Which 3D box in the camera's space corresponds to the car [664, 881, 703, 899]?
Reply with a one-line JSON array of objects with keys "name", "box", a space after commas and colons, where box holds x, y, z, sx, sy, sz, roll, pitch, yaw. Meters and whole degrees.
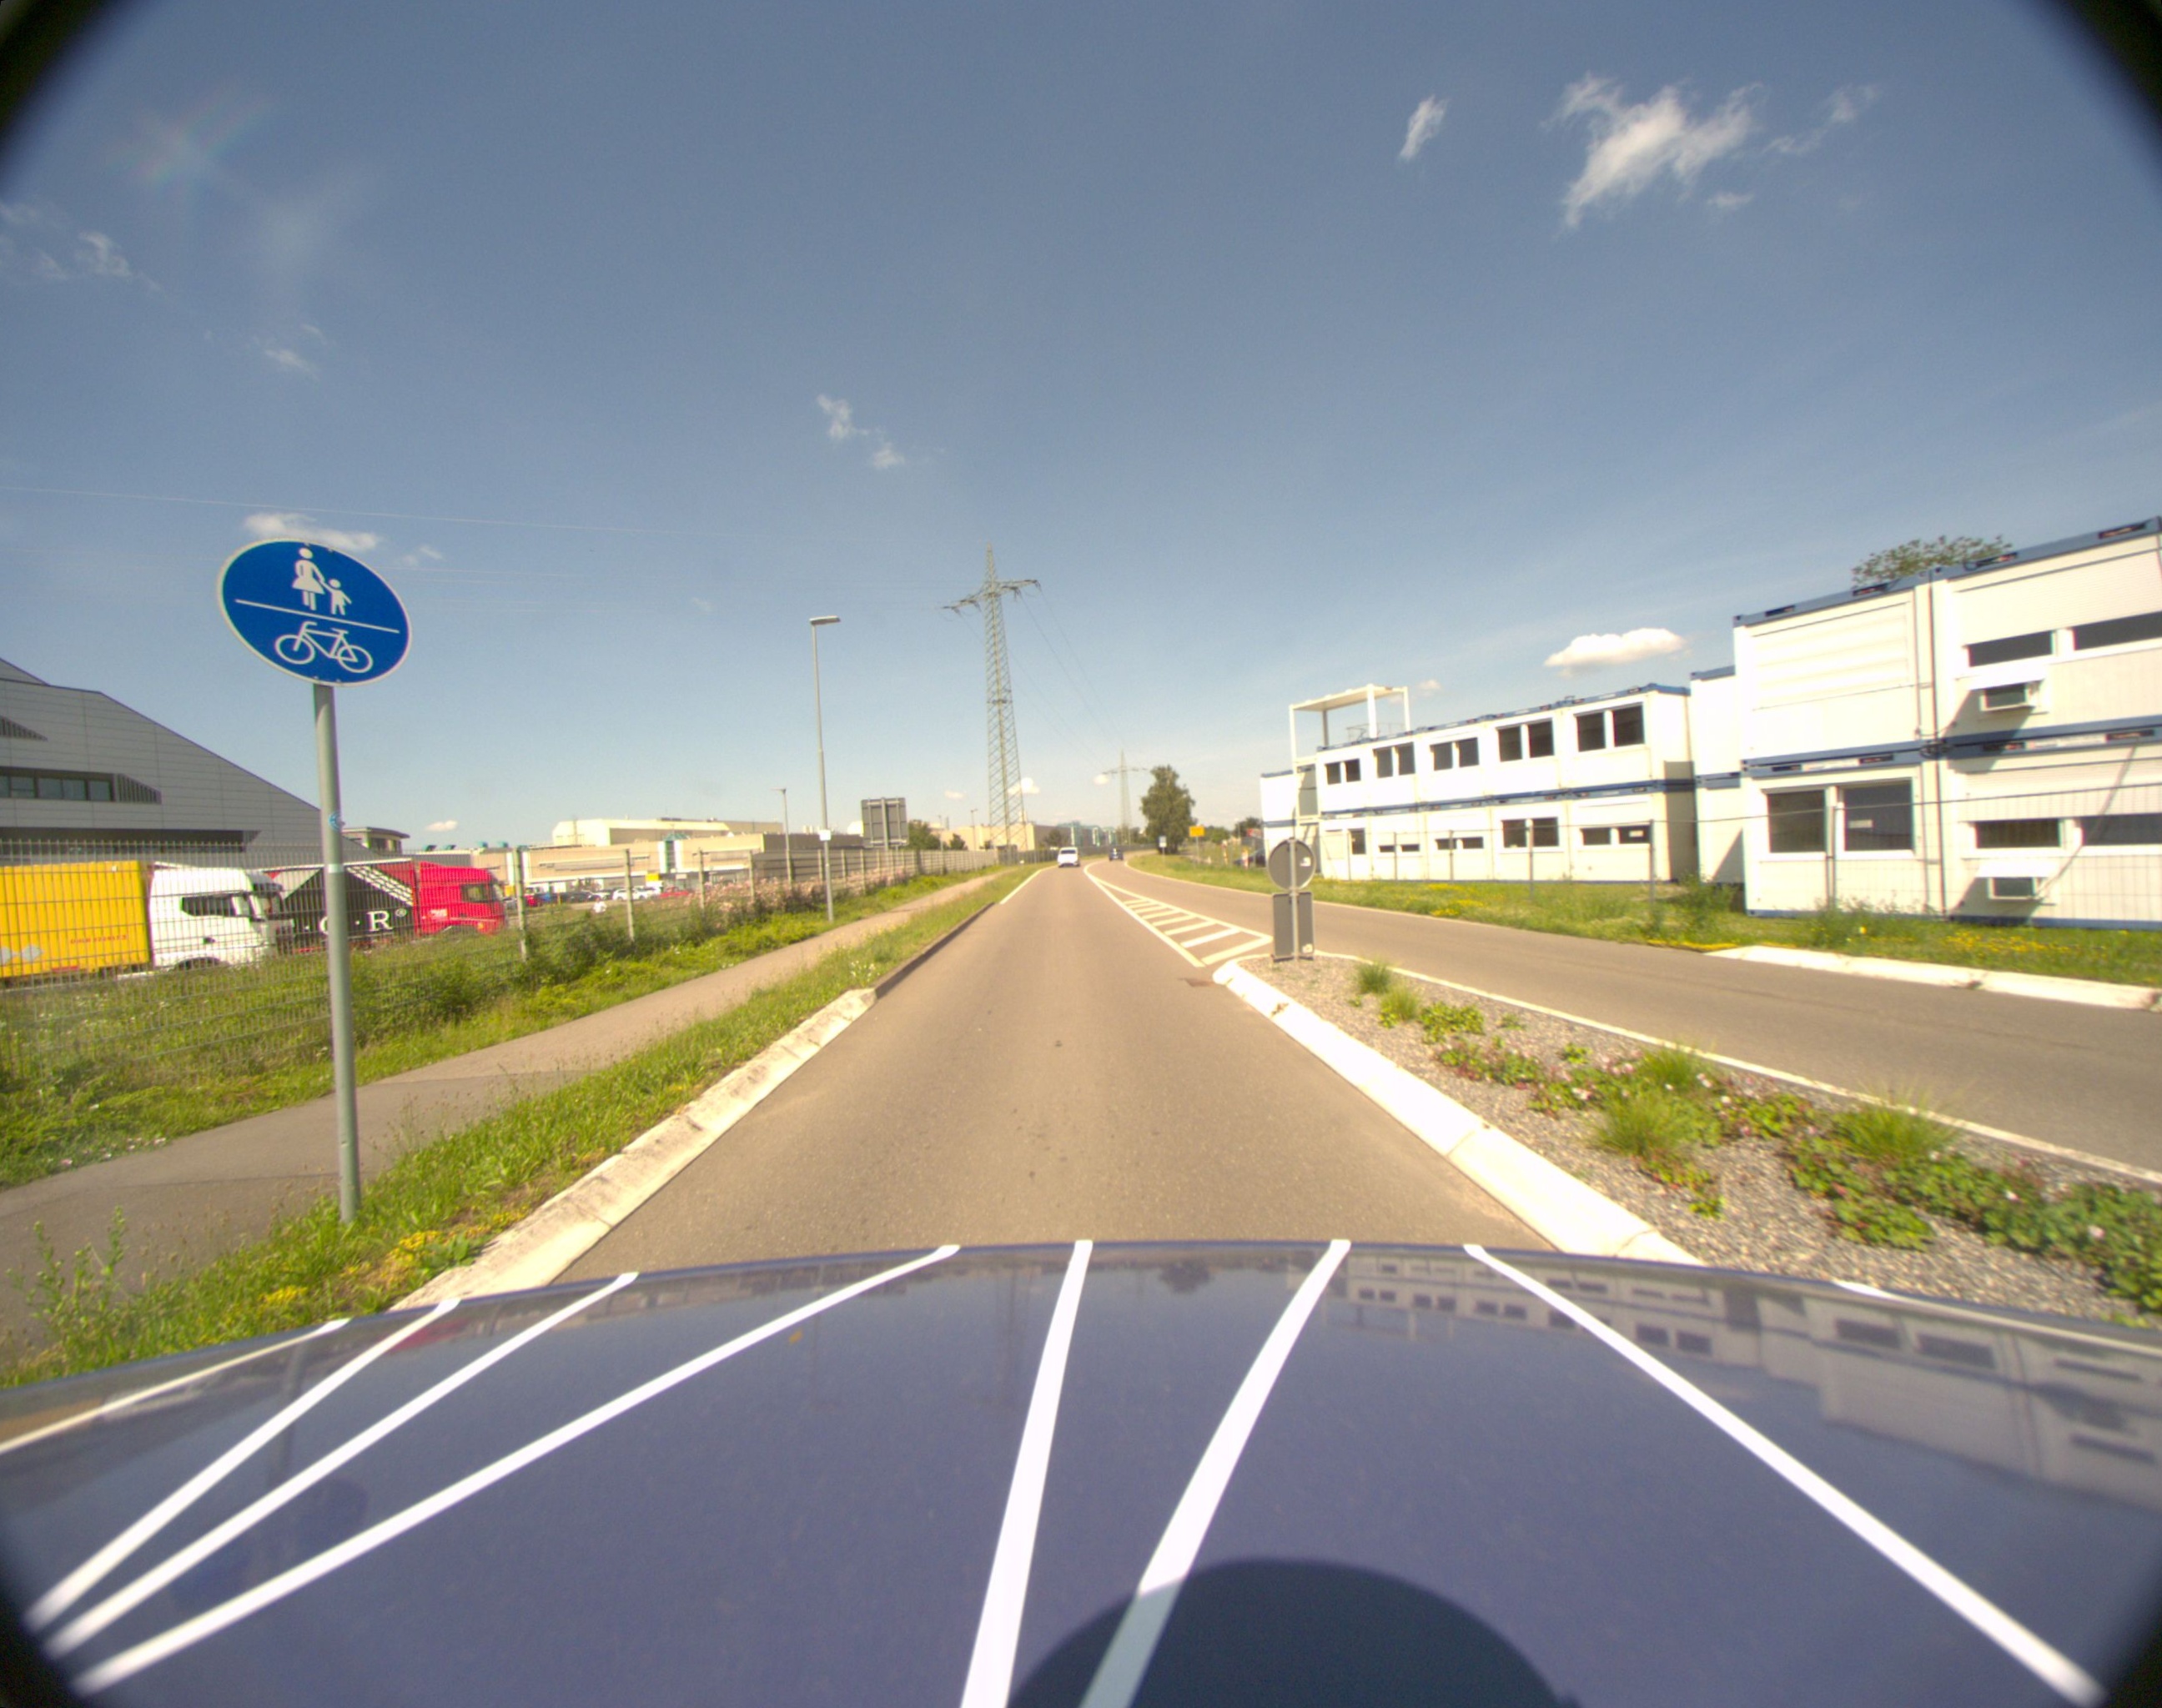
[{"name": "car", "box": [-41.380, 3.754, 79.137, 3.149, 1.525, 1.455, -4, 1, 4]}]

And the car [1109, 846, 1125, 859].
[{"name": "car", "box": [4.607, -0.157, 96.890, 1.706, 1.473, 4.001, -2, 1, 7]}]

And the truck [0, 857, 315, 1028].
[{"name": "truck", "box": [-28.935, 2.429, 20.552, 10.990, 4.149, 2.815, -3, 2, -33]}]

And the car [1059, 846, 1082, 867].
[{"name": "car", "box": [-0.933, 0.164, 70.796, 1.836, 1.796, 4.830, -2, 1, 3]}]

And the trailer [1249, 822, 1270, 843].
[{"name": "trailer", "box": [34.378, -4.131, 146.841, 3.296, 3.624, 14.933, -2, 1, 11]}]

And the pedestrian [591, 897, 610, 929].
[{"name": "pedestrian", "box": [-25.814, 3.184, 40.810, 0.484, 1.643, 0.574, -4, 1, 3]}]

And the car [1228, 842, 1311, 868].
[{"name": "car", "box": [12.604, 0.035, 50.998, 4.985, 1.409, 1.998, -4, 0, -10]}]

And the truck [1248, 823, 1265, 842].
[{"name": "truck", "box": [36.765, -4.519, 159.361, 3.106, 3.624, 10.600, -2, 1, 11]}]

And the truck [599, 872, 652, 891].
[{"name": "truck", "box": [-93.775, 5.575, 156.809, 1.997, 3.119, 11.858, -5, 1, 10]}]

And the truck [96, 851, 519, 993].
[{"name": "truck", "box": [-29.013, 2.267, 29.707, 10.991, 4.232, 3.021, -3, 2, -34]}]
